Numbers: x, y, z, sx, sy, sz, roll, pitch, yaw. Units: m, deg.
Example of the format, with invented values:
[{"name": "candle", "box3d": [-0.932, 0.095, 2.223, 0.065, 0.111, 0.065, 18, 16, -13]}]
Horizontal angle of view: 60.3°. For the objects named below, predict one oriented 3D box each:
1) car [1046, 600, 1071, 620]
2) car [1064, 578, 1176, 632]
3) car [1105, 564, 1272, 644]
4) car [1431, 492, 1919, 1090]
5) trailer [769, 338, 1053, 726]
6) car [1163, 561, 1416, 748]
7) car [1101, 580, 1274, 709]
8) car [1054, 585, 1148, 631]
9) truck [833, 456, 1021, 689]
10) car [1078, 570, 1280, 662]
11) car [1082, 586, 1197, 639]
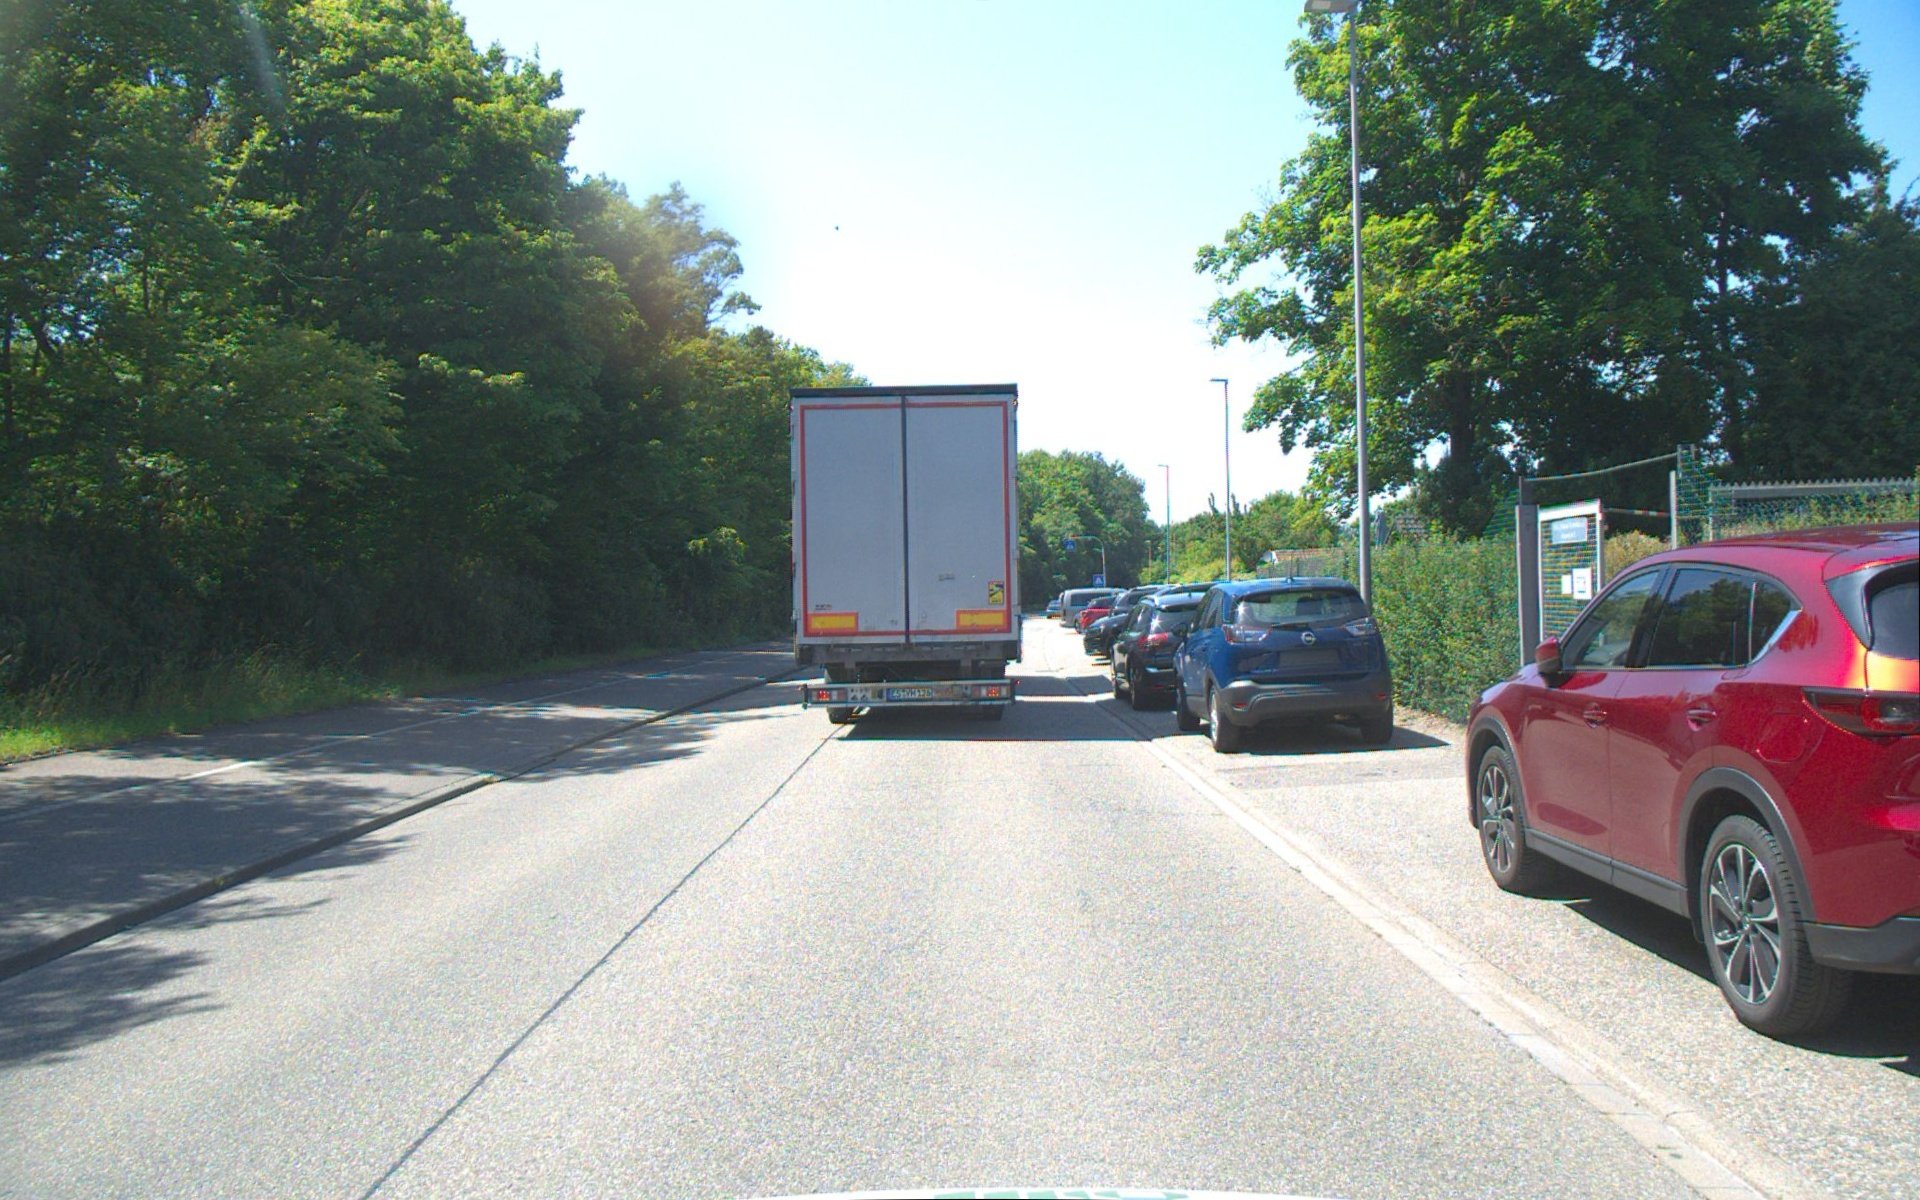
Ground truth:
[{"name": "car", "box3d": [7.583, 0.759, 127.245, 1.743, 1.512, 4.003, 0, 0, 6]}, {"name": "car", "box3d": [6.745, 0.188, 69.928, 4.525, 1.880, 1.997, -5, 0, 4]}, {"name": "car", "box3d": [6.000, 0.100, 43.846, 4.169, 1.727, 1.854, -5, 0, 4]}, {"name": "car", "box3d": [3.518, 0.462, 6.916, 1.753, 1.687, 4.452, -5, 0, 0]}, {"name": "trailer", "box3d": [-0.531, -0.744, 23.570, 3.049, 4.174, 11.536, 0, 0, 0]}, {"name": "car", "box3d": [3.245, 0.468, 17.080, 1.753, 1.631, 4.130, -2, 1, 0]}, {"name": "car", "box3d": [3.116, 0.557, 23.518, 1.753, 1.507, 4.665, -5, 0, 0]}, {"name": "car", "box3d": [5.670, 0.323, 66.741, 3.504, 1.528, 1.841, -5, 0, -2]}, {"name": "truck", "box3d": [-0.563, -0.470, 30.176, 3.050, 3.790, 6.413, 0, 0, -1]}, {"name": "car", "box3d": [5.063, 0.354, 38.689, 4.379, 1.733, 1.914, -5, 0, 0]}, {"name": "car", "box3d": [6.287, 0.432, 58.216, 3.838, 1.504, 1.846, -5, 0, 3]}]
